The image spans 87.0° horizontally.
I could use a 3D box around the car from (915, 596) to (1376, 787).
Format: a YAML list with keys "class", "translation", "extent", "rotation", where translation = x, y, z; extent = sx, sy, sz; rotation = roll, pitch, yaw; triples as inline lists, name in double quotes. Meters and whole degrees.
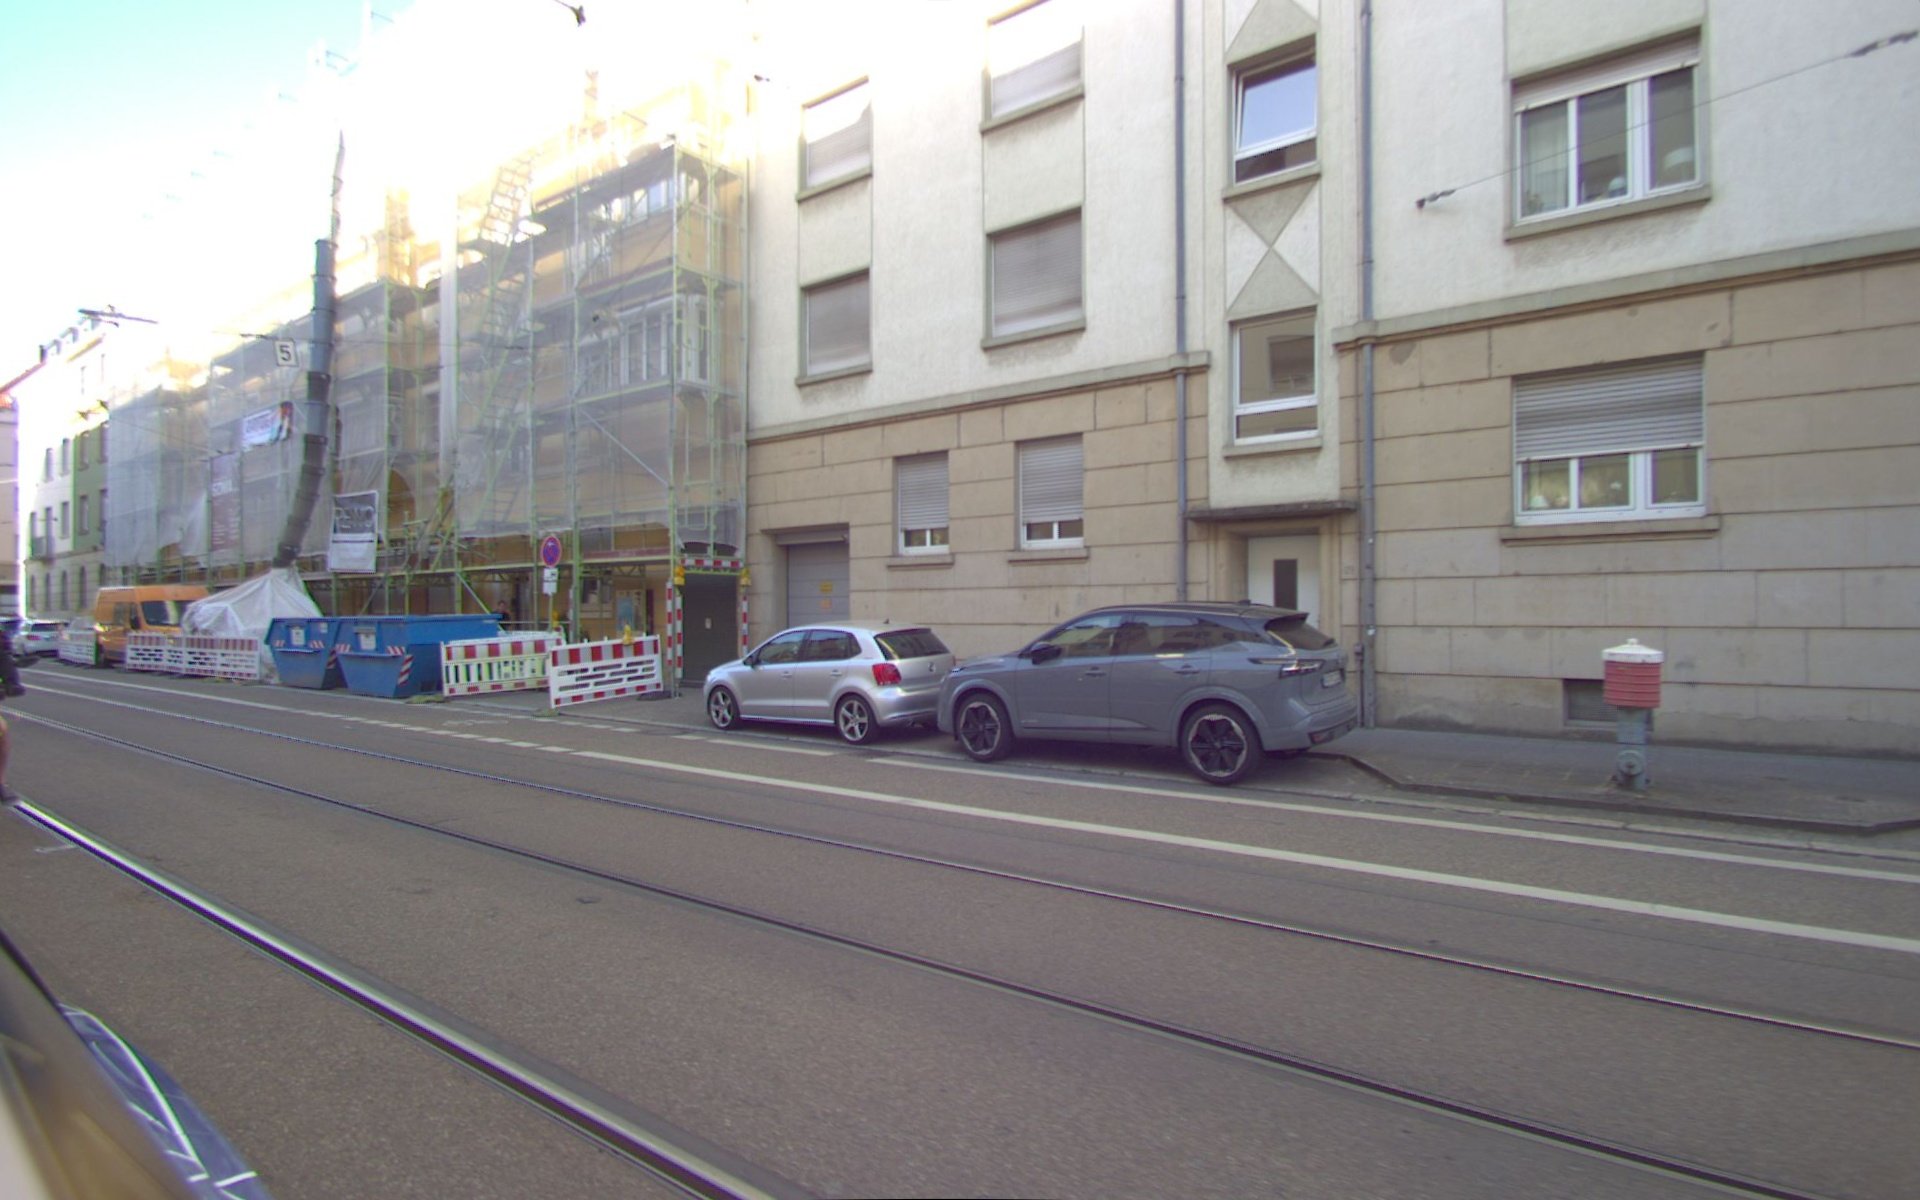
- class: "car"
  translation: [1.741, 0.795, 10.404]
  extent: [4.400, 1.579, 1.683]
  rotation: [-1, -1, 39]

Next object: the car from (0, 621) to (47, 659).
- class: "car"
  translation: [-42.073, 1.748, 44.803]
  extent: [4.216, 1.590, 1.682]
  rotation: [-1, 1, 37]

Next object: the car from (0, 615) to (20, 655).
- class: "car"
  translation: [-46.733, 1.688, 48.514]
  extent: [3.763, 1.860, 1.777]
  rotation: [-1, 1, 37]

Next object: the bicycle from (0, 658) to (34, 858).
- class: "bicycle"
  translation: [-6.822, 1.023, 6.847]
  extent: [0.729, 1.186, 1.977]
  rotation: [1, -2, -40]

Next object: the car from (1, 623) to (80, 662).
- class: "car"
  translation: [-37.308, 1.692, 41.040]
  extent: [3.995, 1.523, 1.729]
  rotation: [-1, -2, 39]

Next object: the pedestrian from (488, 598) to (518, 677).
- class: "pedestrian"
  translation: [-10.205, 0.821, 22.606]
  extent: [0.572, 1.707, 0.719]
  rotation: [-1, 0, -24]

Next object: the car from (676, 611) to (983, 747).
- class: "car"
  translation: [-1.802, 0.915, 13.306]
  extent: [3.995, 1.426, 1.683]
  rotation: [0, 2, 39]

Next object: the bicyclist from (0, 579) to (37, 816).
- class: "bicyclist"
  translation: [-6.833, 0.647, 6.837]
  extent: [0.831, 1.566, 0.851]
  rotation: [1, -2, -40]

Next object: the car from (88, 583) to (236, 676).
- class: "car"
  translation: [-23.579, 0.857, 29.793]
  extent: [5.993, 2.488, 2.099]
  rotation: [-1, -2, 39]
